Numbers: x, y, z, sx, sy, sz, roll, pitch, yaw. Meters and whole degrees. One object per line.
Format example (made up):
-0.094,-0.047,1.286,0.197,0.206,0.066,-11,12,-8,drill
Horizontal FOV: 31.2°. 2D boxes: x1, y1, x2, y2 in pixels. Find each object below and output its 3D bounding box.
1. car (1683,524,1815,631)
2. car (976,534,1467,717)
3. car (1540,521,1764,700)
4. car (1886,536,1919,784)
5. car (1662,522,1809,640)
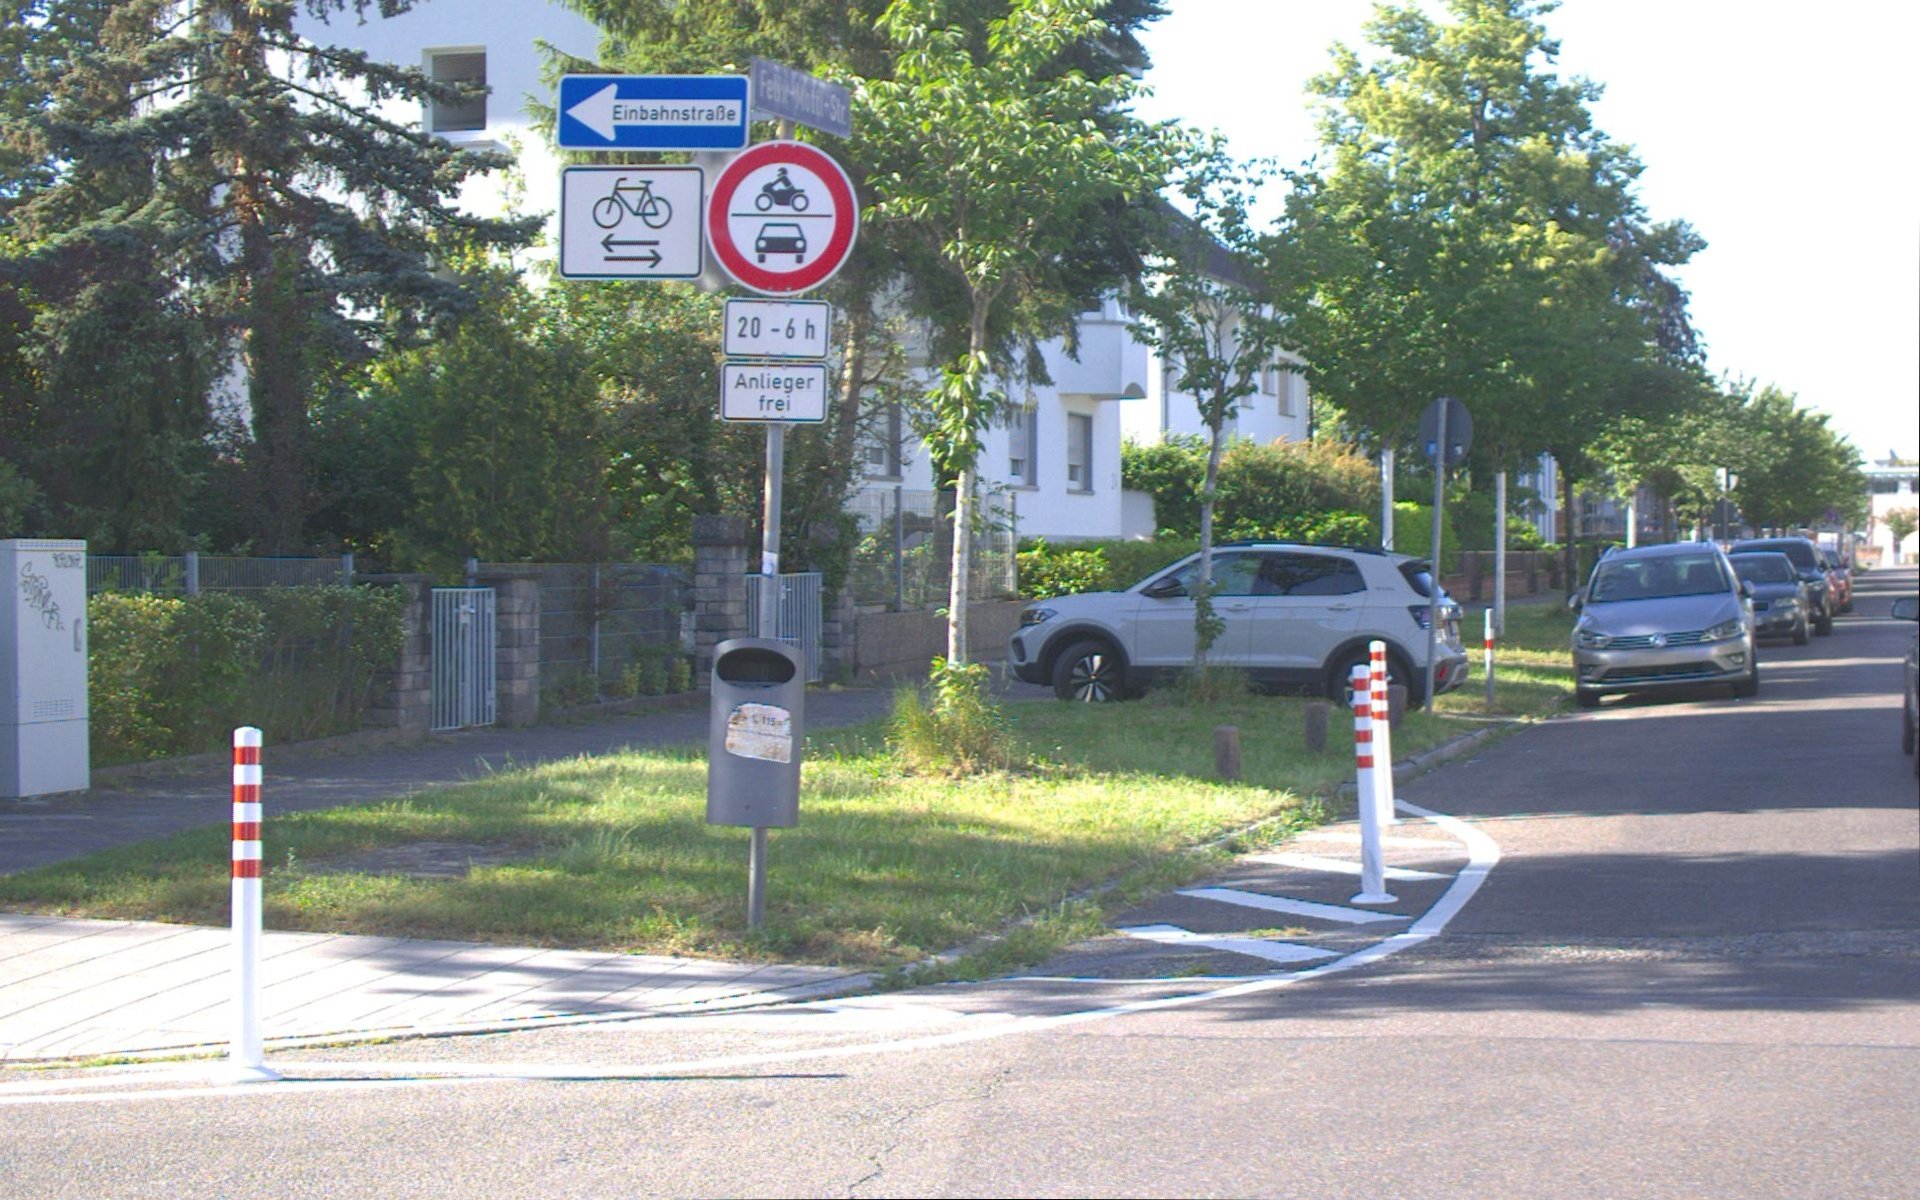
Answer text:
13.259,-0.403,57.747,1.995,1.604,3.998,-4,0,13,car
2.398,0.194,31.076,4.194,1.558,1.841,1,1,13,car
7.096,0.065,34.982,1.995,1.604,3.998,-4,0,13,car
6.845,0.322,21.665,1.837,1.436,3.997,1,1,17,car
11.783,-0.318,52.149,1.995,1.604,3.998,-4,0,13,car
